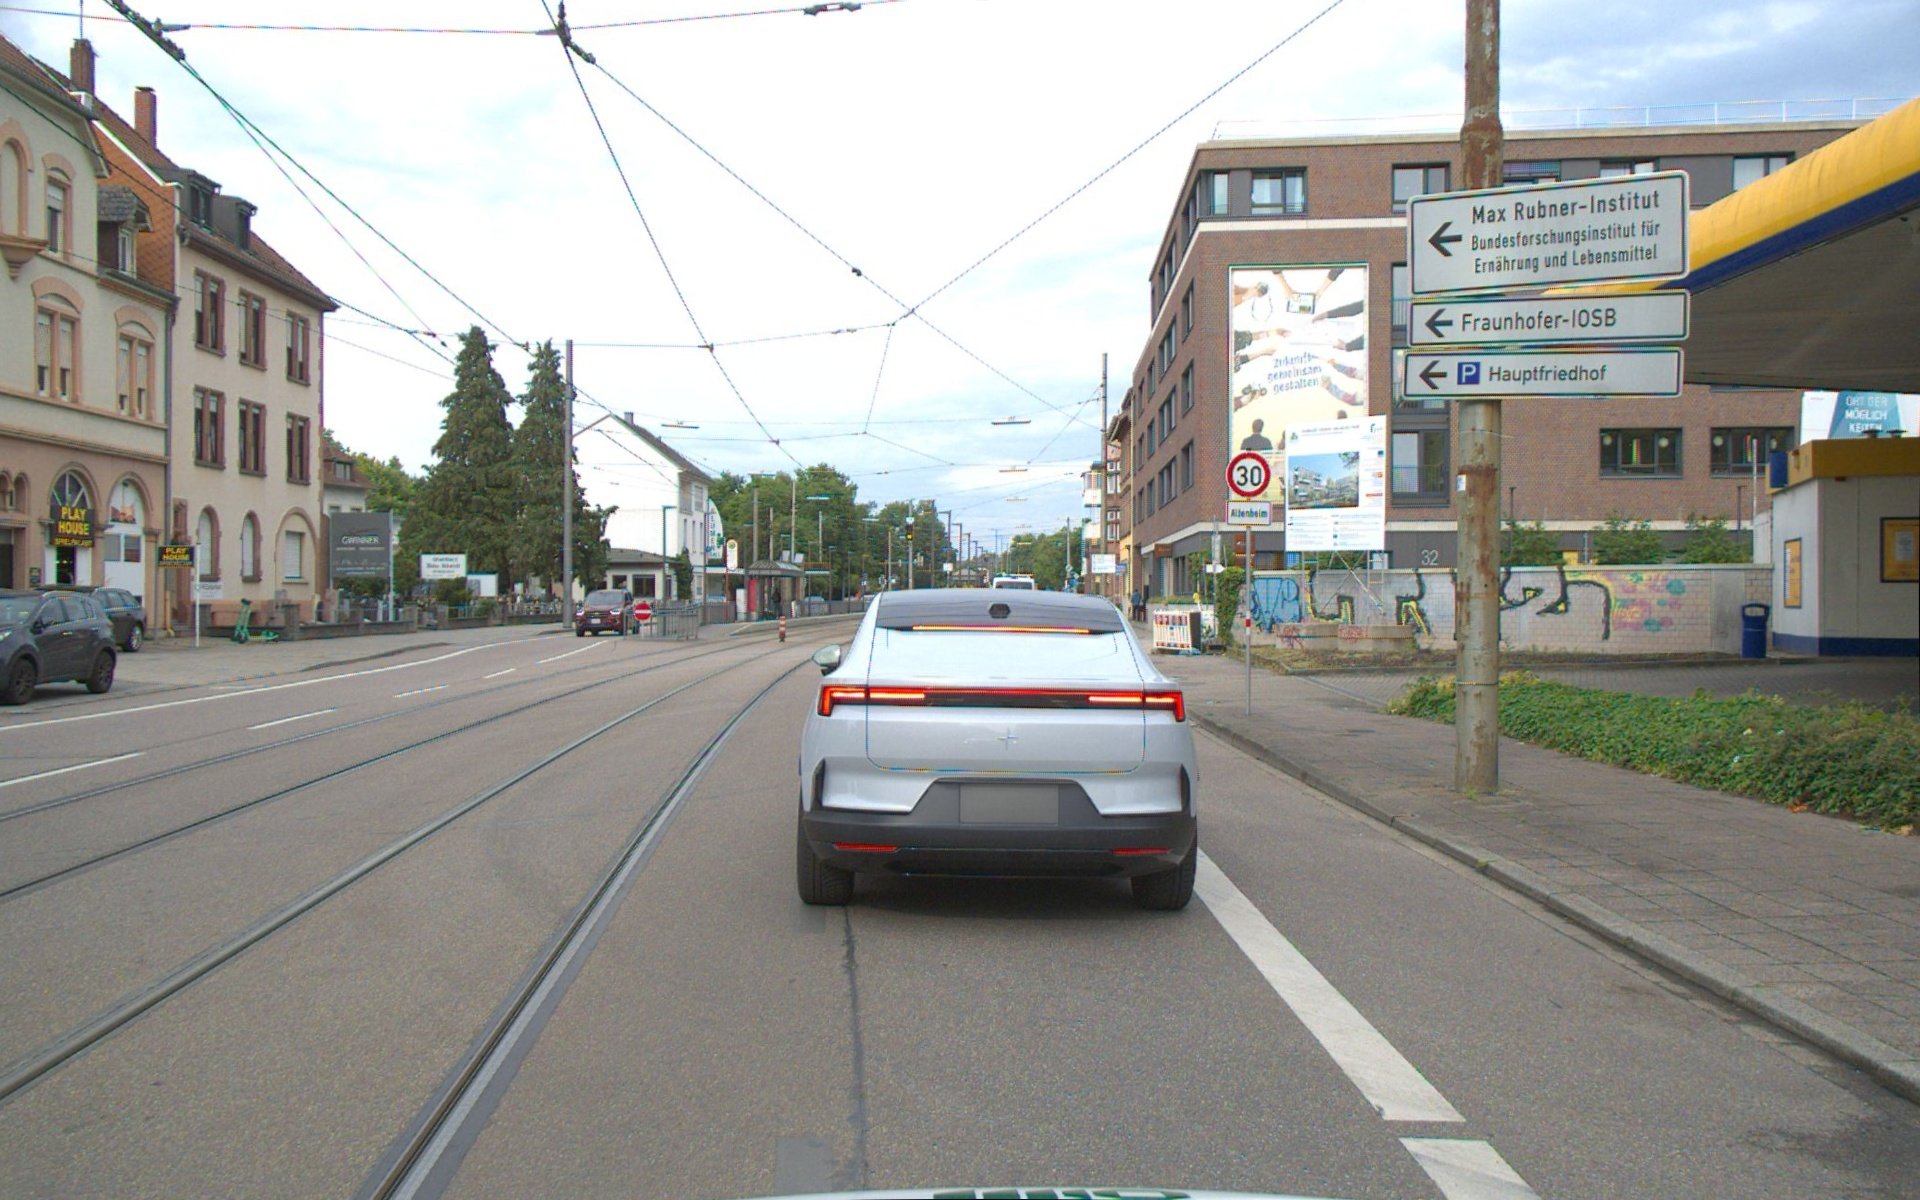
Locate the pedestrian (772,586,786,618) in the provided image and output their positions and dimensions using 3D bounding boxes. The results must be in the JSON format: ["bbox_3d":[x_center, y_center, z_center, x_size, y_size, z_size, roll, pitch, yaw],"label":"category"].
[{"bbox_3d":[-9.589,0.103,87.511,0.602,1.694,0.698,1,-1,5],"label":"pedestrian"}]

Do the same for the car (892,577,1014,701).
[{"bbox_3d":[-0.032,0.560,25.298,1.646,1.717,3.825,1,0,3],"label":"car"}]

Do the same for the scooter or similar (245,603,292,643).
[{"bbox_3d":[-19.593,0.663,46.846,1.162,1.121,0.522,1,-1,-32],"label":"scooter or similar"}]

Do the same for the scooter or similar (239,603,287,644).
[{"bbox_3d":[-19.389,0.663,46.033,1.162,1.121,0.522,1,-1,-32],"label":"scooter or similar"}]

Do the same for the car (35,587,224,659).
[{"bbox_3d":[-18.685,0.498,37.481,1.953,1.519,4.900,1,0,-2],"label":"car"}]

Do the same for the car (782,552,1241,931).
[{"bbox_3d":[0.166,0.630,9.144,1.959,1.608,3.998,1,-1,-2],"label":"car"}]

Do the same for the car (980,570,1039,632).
[{"bbox_3d":[2.007,0.054,68.269,2.181,2.444,5.122,1,0,-1],"label":"car"}]

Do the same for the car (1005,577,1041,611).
[{"bbox_3d":[3.869,-0.339,101.846,1.953,2.049,3.999,1,0,-1],"label":"car"}]

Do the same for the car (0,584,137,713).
[{"bbox_3d":[-14.906,0.675,25.898,1.997,1.780,4.531,2,1,-5],"label":"car"}]

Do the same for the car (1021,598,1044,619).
[{"bbox_3d":[7.187,0.842,163.923,1.953,2.049,3.999,1,0,-1],"label":"car"}]

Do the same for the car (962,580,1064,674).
[{"bbox_3d":[1.045,0.531,34.804,1.953,1.847,3.999,-1,0,-1],"label":"car"}]

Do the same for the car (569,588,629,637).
[{"bbox_3d":[-13.357,0.444,61.366,1.807,1.754,4.399,0,0,-8],"label":"car"}]

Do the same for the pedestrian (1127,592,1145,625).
[{"bbox_3d":[10.225,0.479,96.284,0.940,1.882,0.976,-2,1,8],"label":"pedestrian"}]
